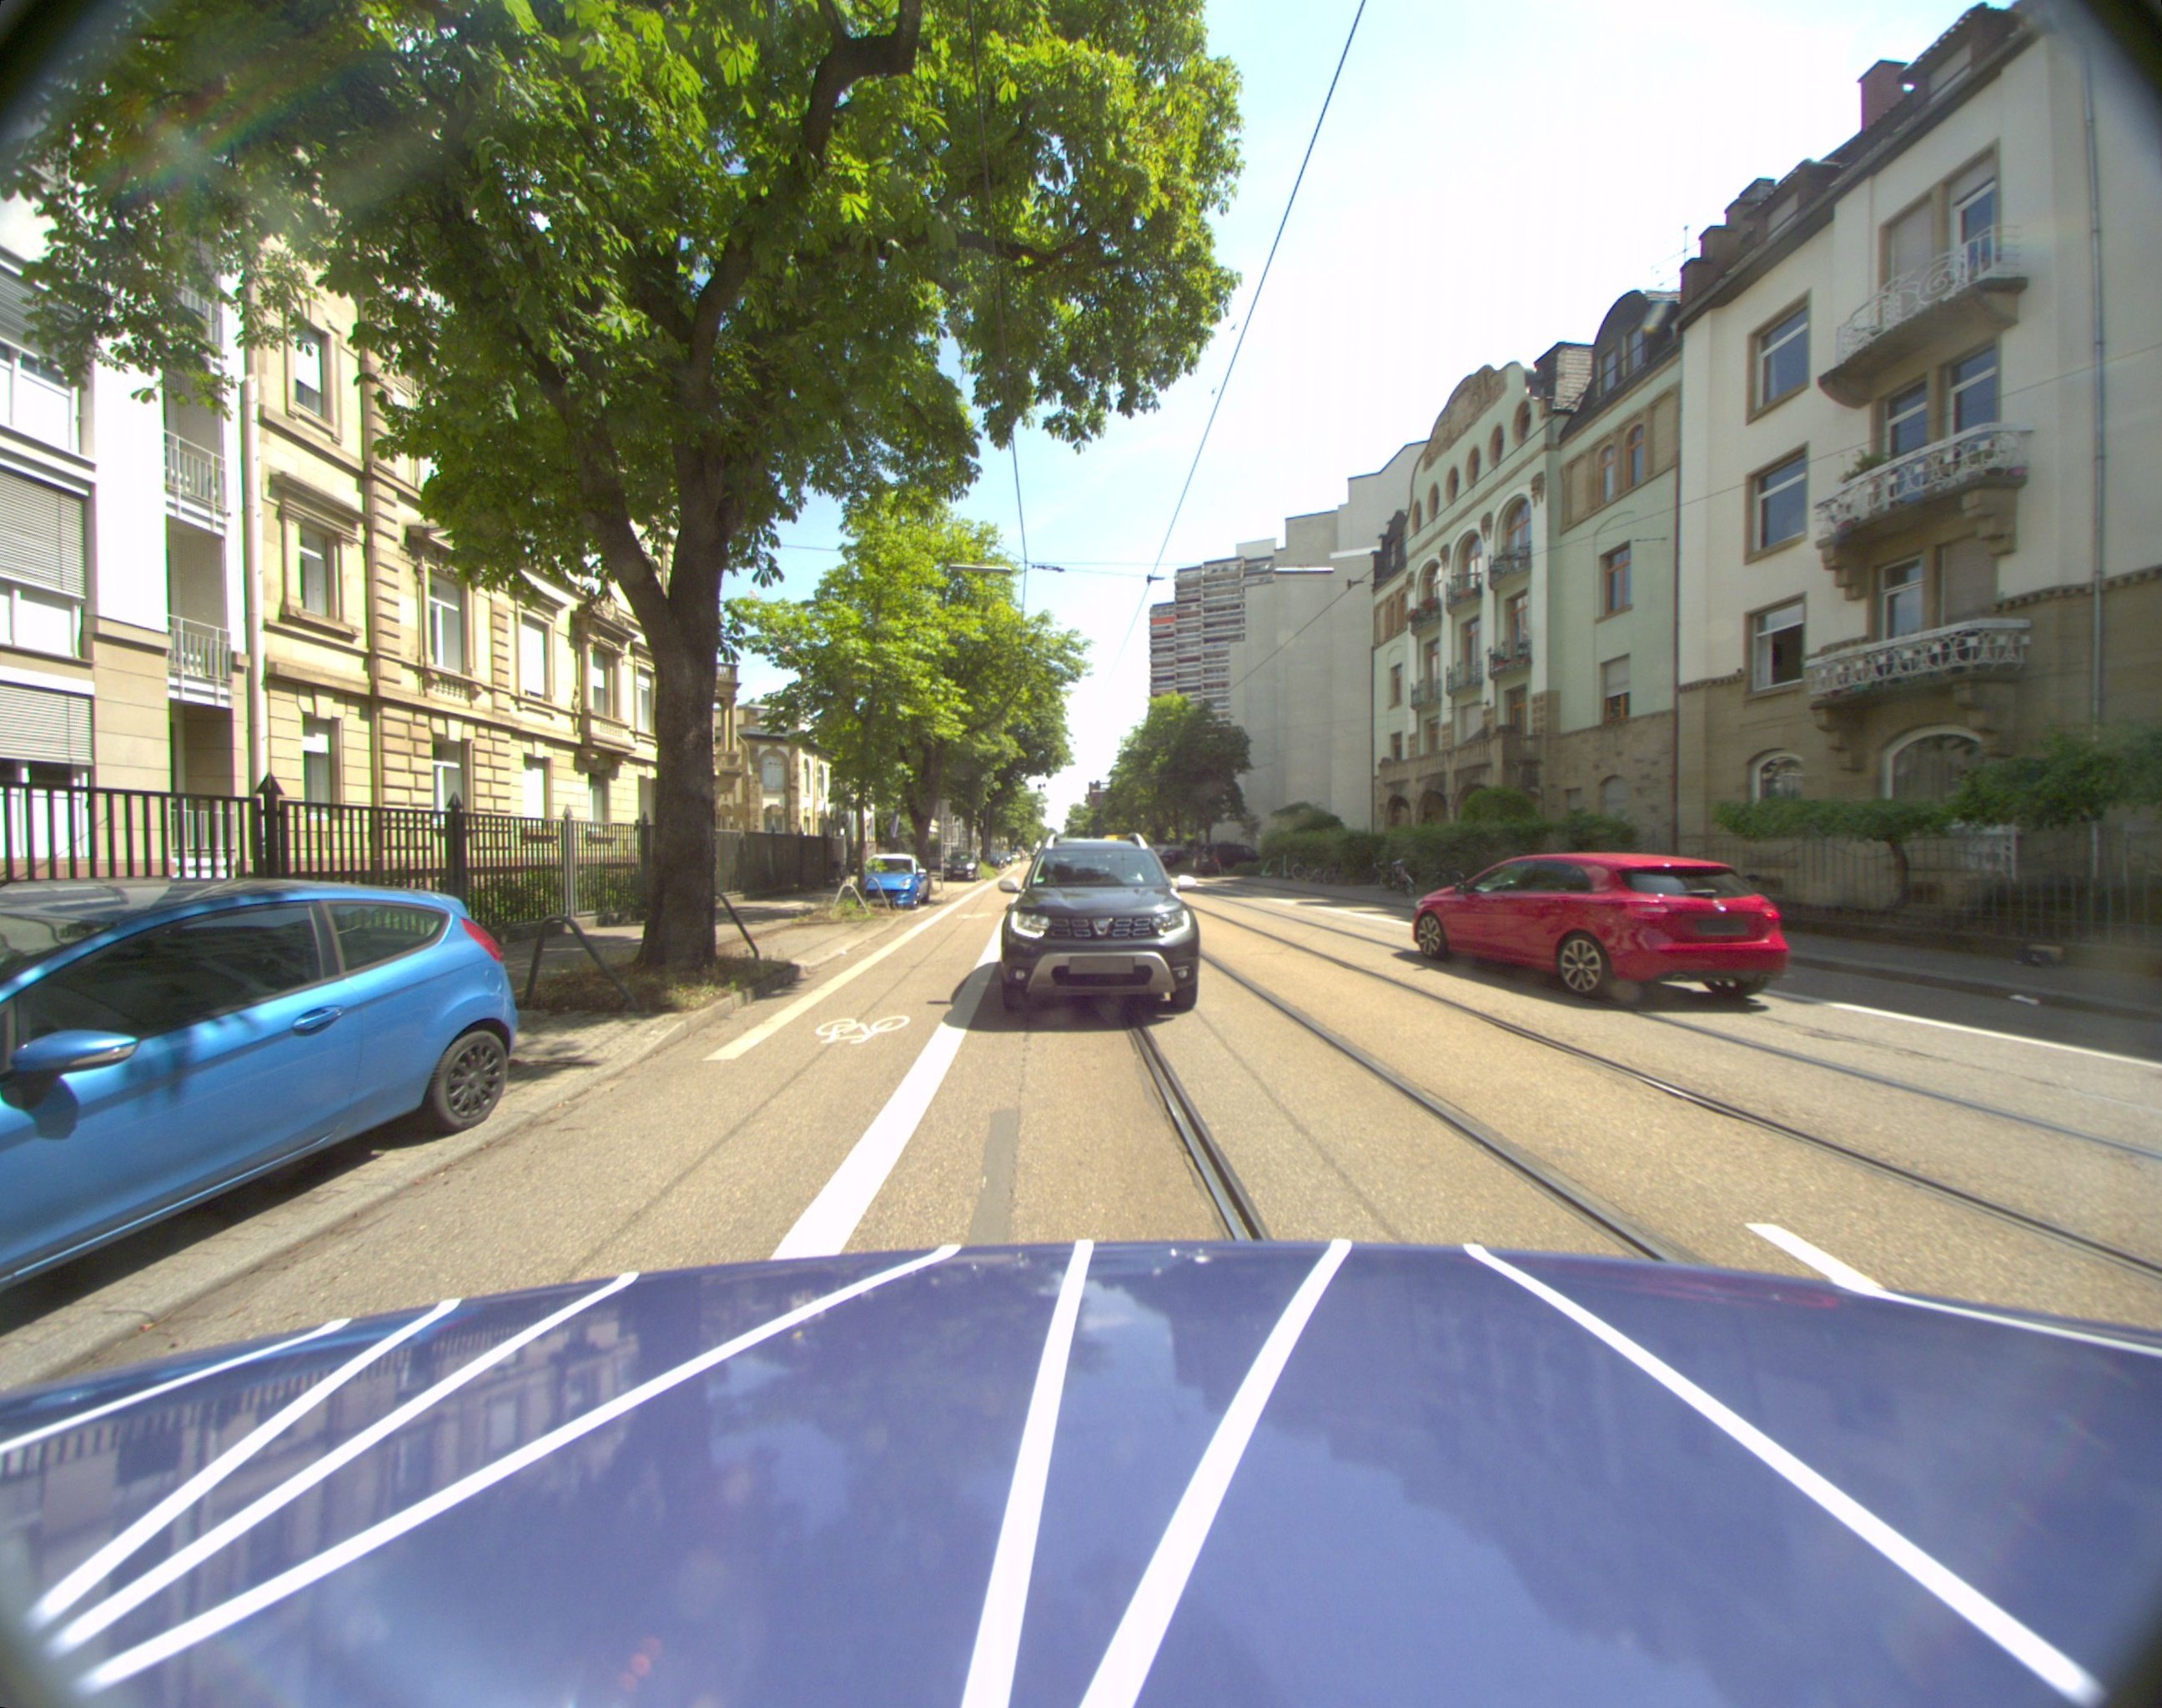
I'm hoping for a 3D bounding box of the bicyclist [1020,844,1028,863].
[{"bbox_3d":[-6.092,-0.048,81.498,0.773,2.002,0.807,0,1,-8],"label":"bicyclist"}]

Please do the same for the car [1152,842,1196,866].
[{"bbox_3d":[8.196,-0.015,66.713,4.061,2.030,1.597,-1,1,-43],"label":"car"}]

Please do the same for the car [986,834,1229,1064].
[{"bbox_3d":[0.112,0.688,7.779,1.753,1.641,4.296,-2,1,-3],"label":"car"}]

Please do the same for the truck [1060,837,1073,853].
[{"bbox_3d":[-3.357,-2.047,179.861,2.792,3.599,8.254,0,1,0],"label":"truck"}]

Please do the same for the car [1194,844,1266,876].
[{"bbox_3d":[9.269,0.326,47.082,4.595,1.914,1.956,-1,1,-40],"label":"car"}]

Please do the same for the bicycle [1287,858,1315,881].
[{"bbox_3d":[9.878,0.687,34.132,0.609,0.983,1.707,-4,1,-3],"label":"bicycle"}]

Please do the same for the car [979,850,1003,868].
[{"bbox_3d":[-7.335,0.393,62.066,1.626,1.395,3.821,2,0,-3],"label":"car"}]

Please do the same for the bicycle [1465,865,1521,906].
[{"bbox_3d":[10.638,0.790,19.675,0.414,0.960,1.725,-4,1,-3],"label":"bicycle"}]

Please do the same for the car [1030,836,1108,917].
[{"bbox_3d":[-0.355,0.512,20.032,1.753,1.806,4.307,-3,1,-2],"label":"car"}]

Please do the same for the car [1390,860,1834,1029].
[{"bbox_3d":[5.600,0.822,8.904,1.828,1.405,4.426,1,0,-5],"label":"car"}]

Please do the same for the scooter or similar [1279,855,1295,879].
[{"bbox_3d":[9.733,0.612,35.927,0.407,1.113,1.290,-1,1,-1],"label":"scooter or similar"}]

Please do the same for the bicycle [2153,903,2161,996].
[{"bbox_3d":[11.295,0.993,6.916,0.411,0.955,1.840,-4,2,-3],"label":"bicycle"}]

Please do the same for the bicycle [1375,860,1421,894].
[{"bbox_3d":[10.324,0.731,24.790,0.609,1.026,1.771,-4,1,-3],"label":"bicycle"}]

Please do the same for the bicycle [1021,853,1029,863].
[{"bbox_3d":[-6.006,0.410,81.313,0.812,1.089,2.173,0,1,-4],"label":"bicycle"}]

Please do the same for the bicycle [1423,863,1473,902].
[{"bbox_3d":[10.373,0.780,21.506,0.465,0.993,1.707,-4,1,-3],"label":"bicycle"}]

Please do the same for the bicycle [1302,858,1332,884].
[{"bbox_3d":[9.971,0.702,32.136,0.609,0.983,1.707,-4,1,-3],"label":"bicycle"}]

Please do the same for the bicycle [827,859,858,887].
[{"bbox_3d":[-9.439,0.742,30.119,0.609,1.065,1.980,0,1,-1],"label":"bicycle"}]

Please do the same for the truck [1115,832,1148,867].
[{"bbox_3d":[4.417,-0.406,67.294,2.307,2.903,6.513,0,1,-1],"label":"truck"}]

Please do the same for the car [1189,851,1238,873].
[{"bbox_3d":[9.403,0.538,53.742,1.721,1.445,3.635,0,1,41],"label":"car"}]

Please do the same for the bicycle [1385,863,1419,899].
[{"bbox_3d":[9.483,0.777,22.421,0.608,0.993,1.778,0,1,33],"label":"bicycle"}]

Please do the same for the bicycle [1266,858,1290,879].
[{"bbox_3d":[9.710,0.695,37.541,0.609,0.983,1.707,-4,1,-3],"label":"bicycle"}]

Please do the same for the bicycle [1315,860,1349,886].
[{"bbox_3d":[9.973,0.738,30.268,0.609,0.970,1.771,-4,1,-3],"label":"bicycle"}]

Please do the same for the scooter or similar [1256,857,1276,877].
[{"bbox_3d":[9.543,0.664,39.257,0.407,1.014,1.222,-1,1,-18],"label":"scooter or similar"}]

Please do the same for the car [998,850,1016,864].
[{"bbox_3d":[-7.933,0.347,81.668,1.626,1.395,3.998,2,0,-3],"label":"car"}]

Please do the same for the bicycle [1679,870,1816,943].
[{"bbox_3d":[11.037,0.834,12.674,0.609,1.059,1.771,-4,1,-3],"label":"bicycle"}]

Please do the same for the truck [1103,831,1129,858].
[{"bbox_3d":[5.750,-1.449,122.066,2.673,4.156,10.481,0,1,11],"label":"truck"}]

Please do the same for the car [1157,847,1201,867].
[{"bbox_3d":[8.157,0.254,63.192,1.677,1.566,3.692,1,2,45],"label":"car"}]

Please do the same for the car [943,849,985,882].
[{"bbox_3d":[-6.096,0.574,39.991,1.734,1.607,4.082,2,0,-3],"label":"car"}]

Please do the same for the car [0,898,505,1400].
[{"bbox_3d":[-4.283,1.007,2.762,1.682,1.435,3.719,0,1,-4],"label":"car"}]

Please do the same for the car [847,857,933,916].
[{"bbox_3d":[-5.215,0.827,21.113,1.696,1.444,3.472,0,1,-4],"label":"car"}]
